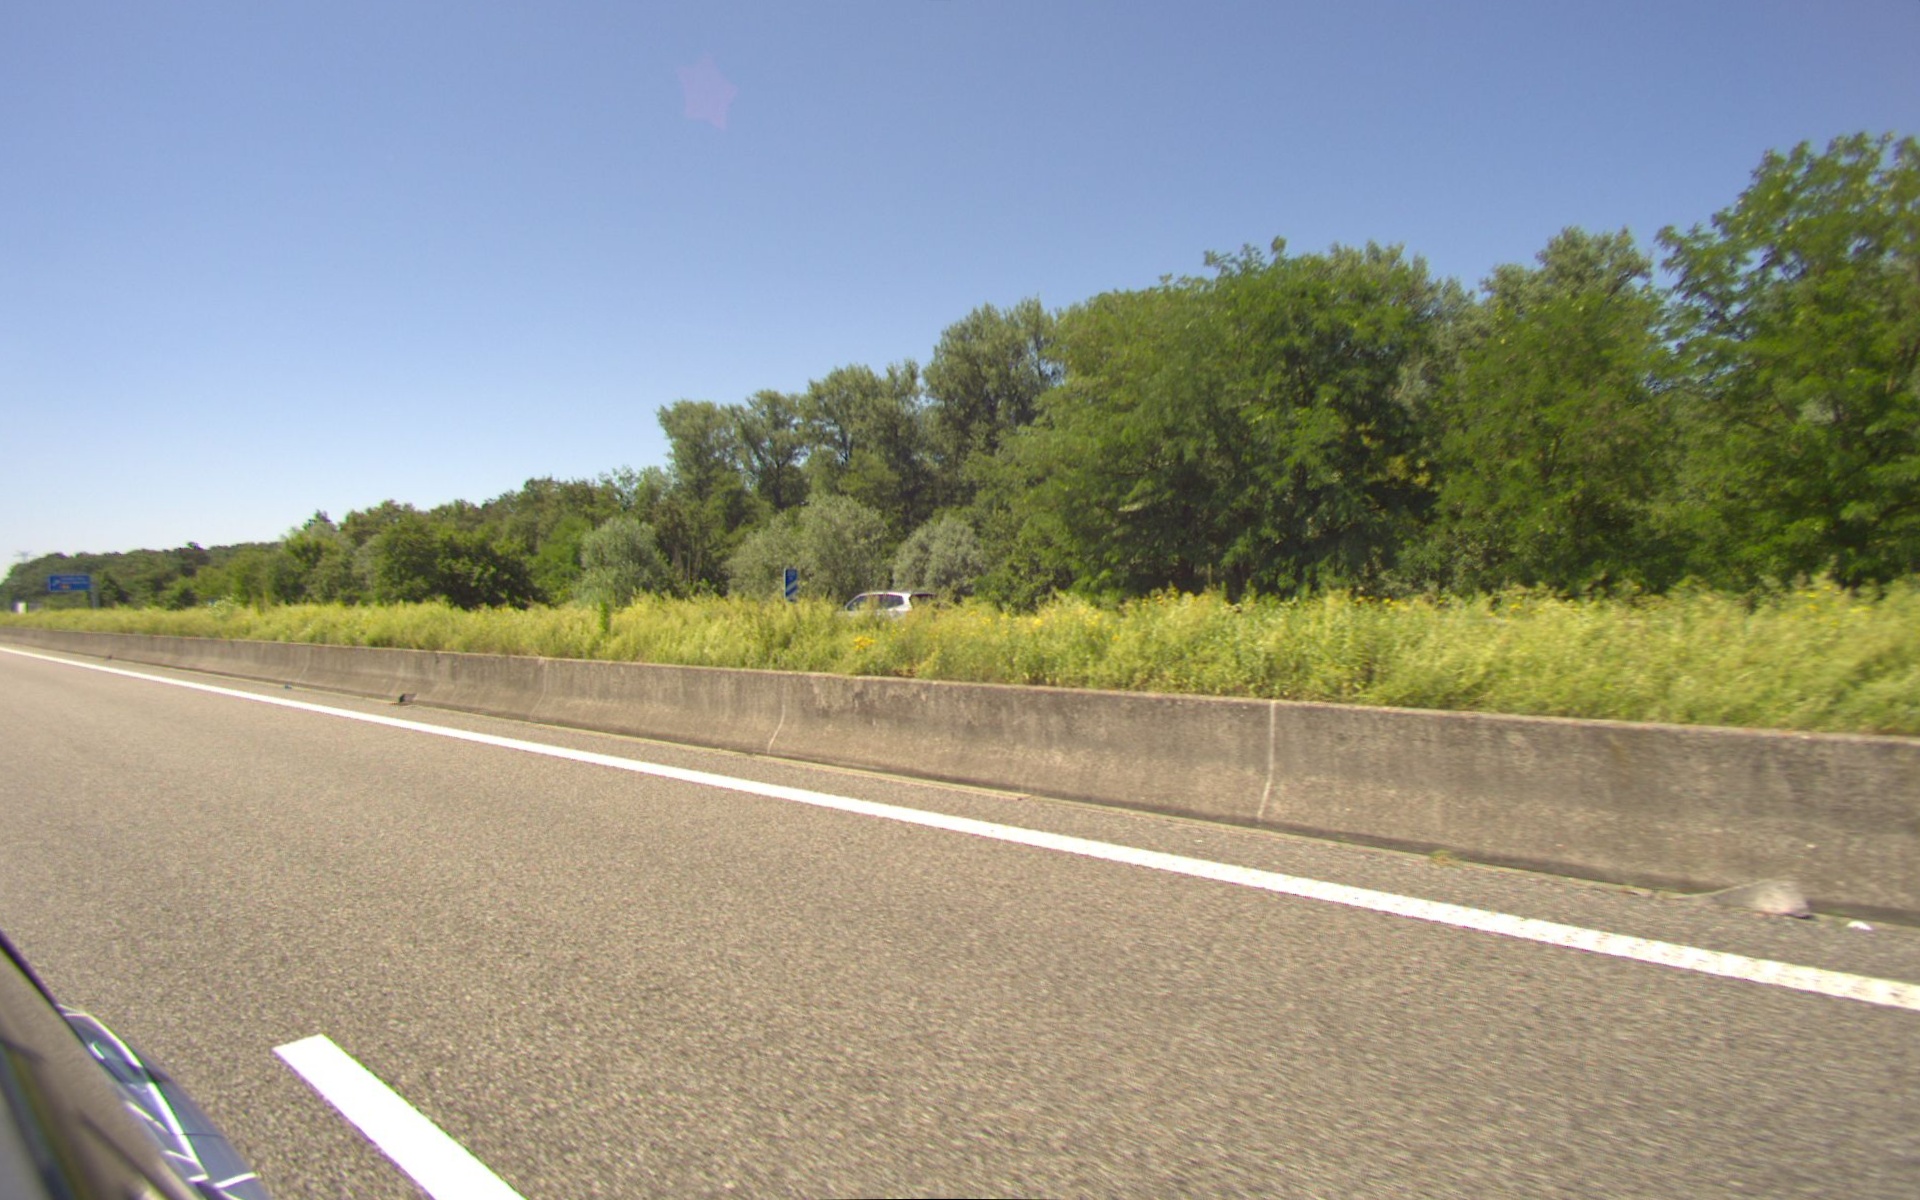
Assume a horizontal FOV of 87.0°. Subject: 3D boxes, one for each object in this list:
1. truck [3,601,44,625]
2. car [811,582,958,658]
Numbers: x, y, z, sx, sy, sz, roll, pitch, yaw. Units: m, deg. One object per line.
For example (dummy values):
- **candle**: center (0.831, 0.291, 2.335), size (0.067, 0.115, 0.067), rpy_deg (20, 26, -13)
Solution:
- **truck**: center (-162.780, 2.330, 175.837), size (17.478, 3.763, 3.560), rpy_deg (-2, 0, 42)
- **car**: center (-2.197, 0.562, 29.054), size (3.998, 2.029, 1.973), rpy_deg (-1, 0, 41)
